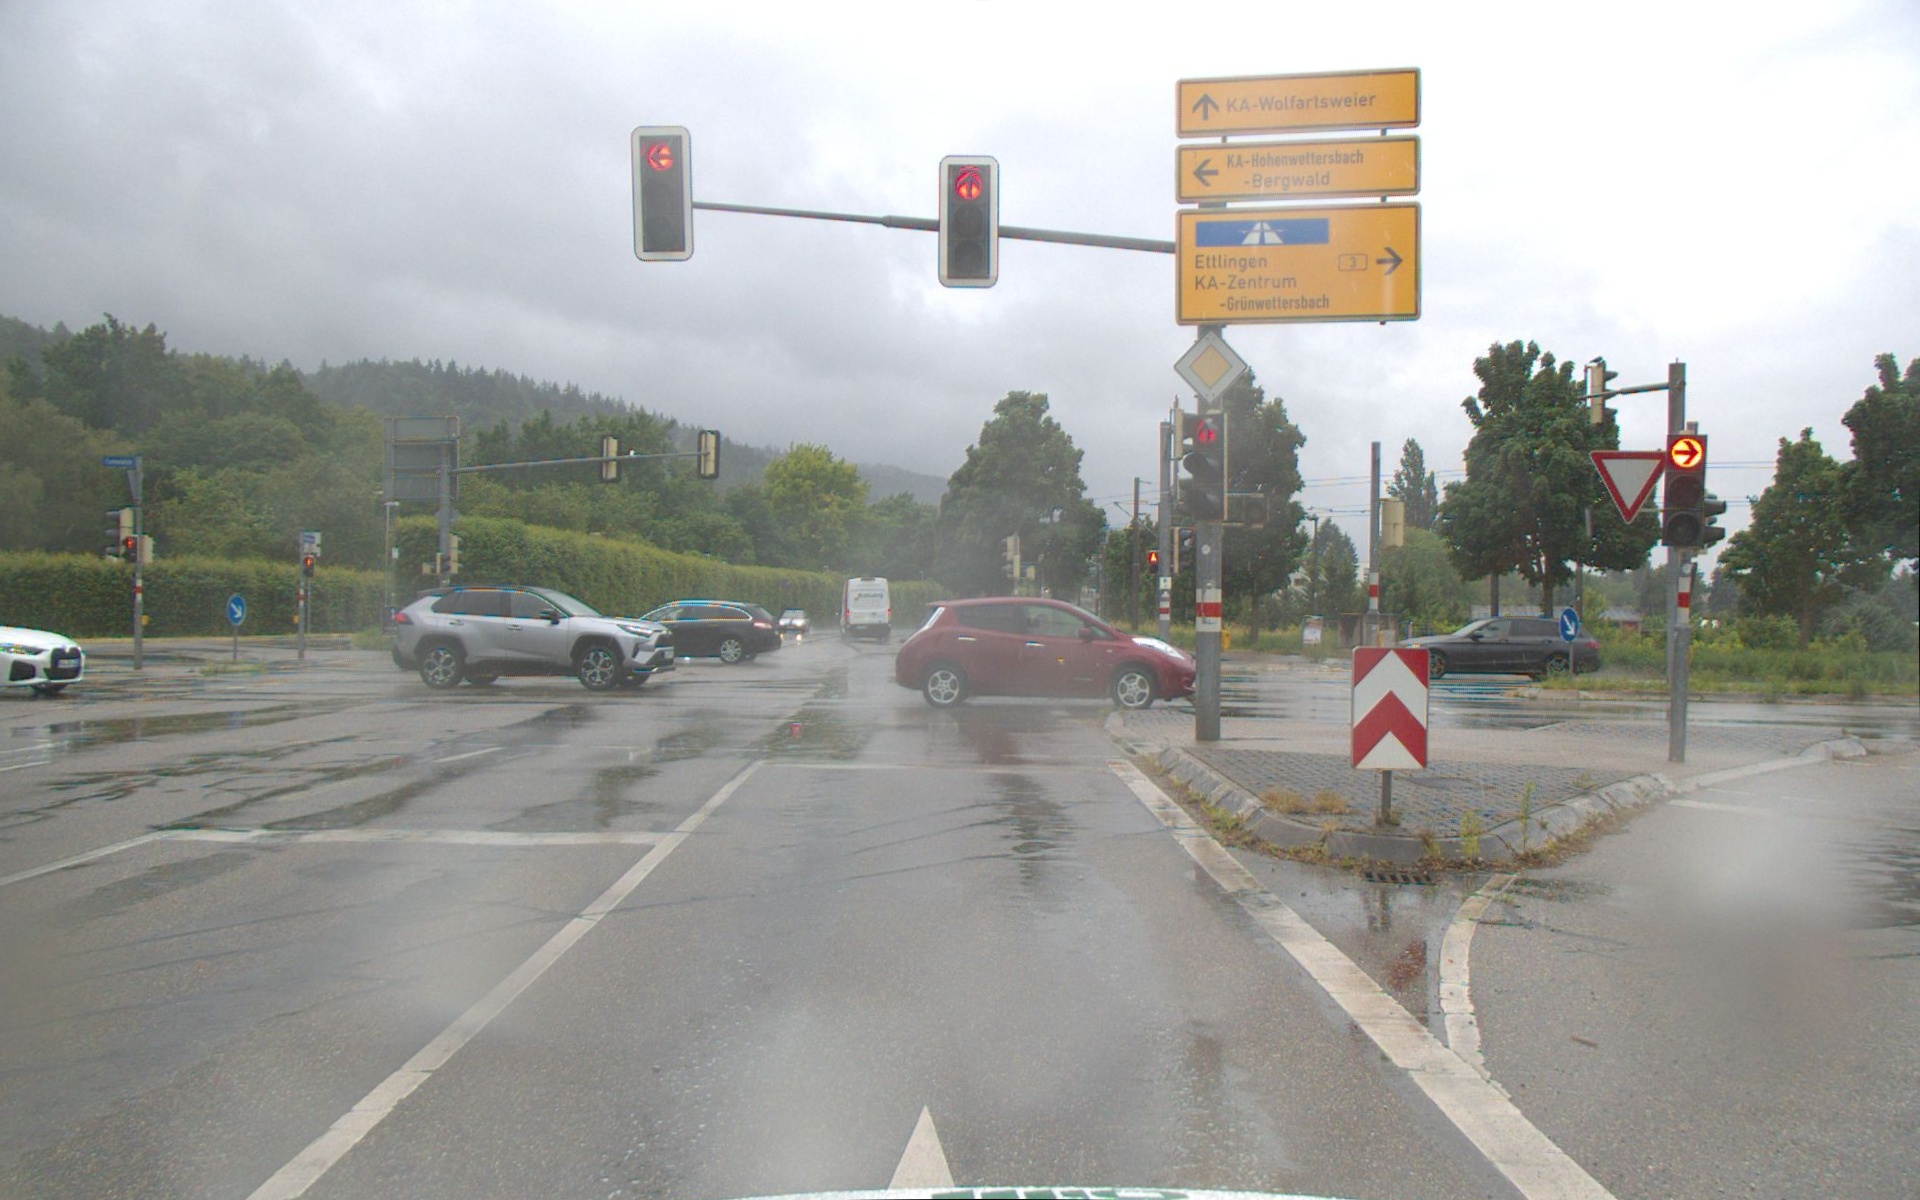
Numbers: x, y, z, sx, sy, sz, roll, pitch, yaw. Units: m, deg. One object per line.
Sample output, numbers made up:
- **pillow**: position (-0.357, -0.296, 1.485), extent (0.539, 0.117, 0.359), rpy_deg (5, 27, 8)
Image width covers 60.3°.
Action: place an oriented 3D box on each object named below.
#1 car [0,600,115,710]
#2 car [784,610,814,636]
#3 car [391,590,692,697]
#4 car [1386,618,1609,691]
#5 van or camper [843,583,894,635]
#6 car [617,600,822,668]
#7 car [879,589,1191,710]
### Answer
- **car**: position (-15.529, 0.788, 24.909), extent (4.778, 1.581, 1.801), rpy_deg (0, 0, 6)
- **car**: position (-9.727, 1.359, 99.923), extent (1.527, 1.507, 3.360), rpy_deg (1, 0, -1)
- **car**: position (-6.897, 0.689, 27.525), extent (4.431, 1.607, 1.914), rpy_deg (1, 0, 6)
- **car**: position (12.233, 1.224, 37.890), extent (4.571, 1.581, 1.824), rpy_deg (0, 0, 4)
- **van or camper**: position (-4.047, 0.385, 73.687), extent (2.110, 2.207, 4.863), rpy_deg (1, 0, -1)
- **car**: position (-5.671, 0.793, 39.436), extent (4.572, 1.581, 1.823), rpy_deg (0, 0, 2)
- **car**: position (1.100, 0.670, 23.691), extent (4.282, 1.607, 1.734), rpy_deg (1, 0, 5)
